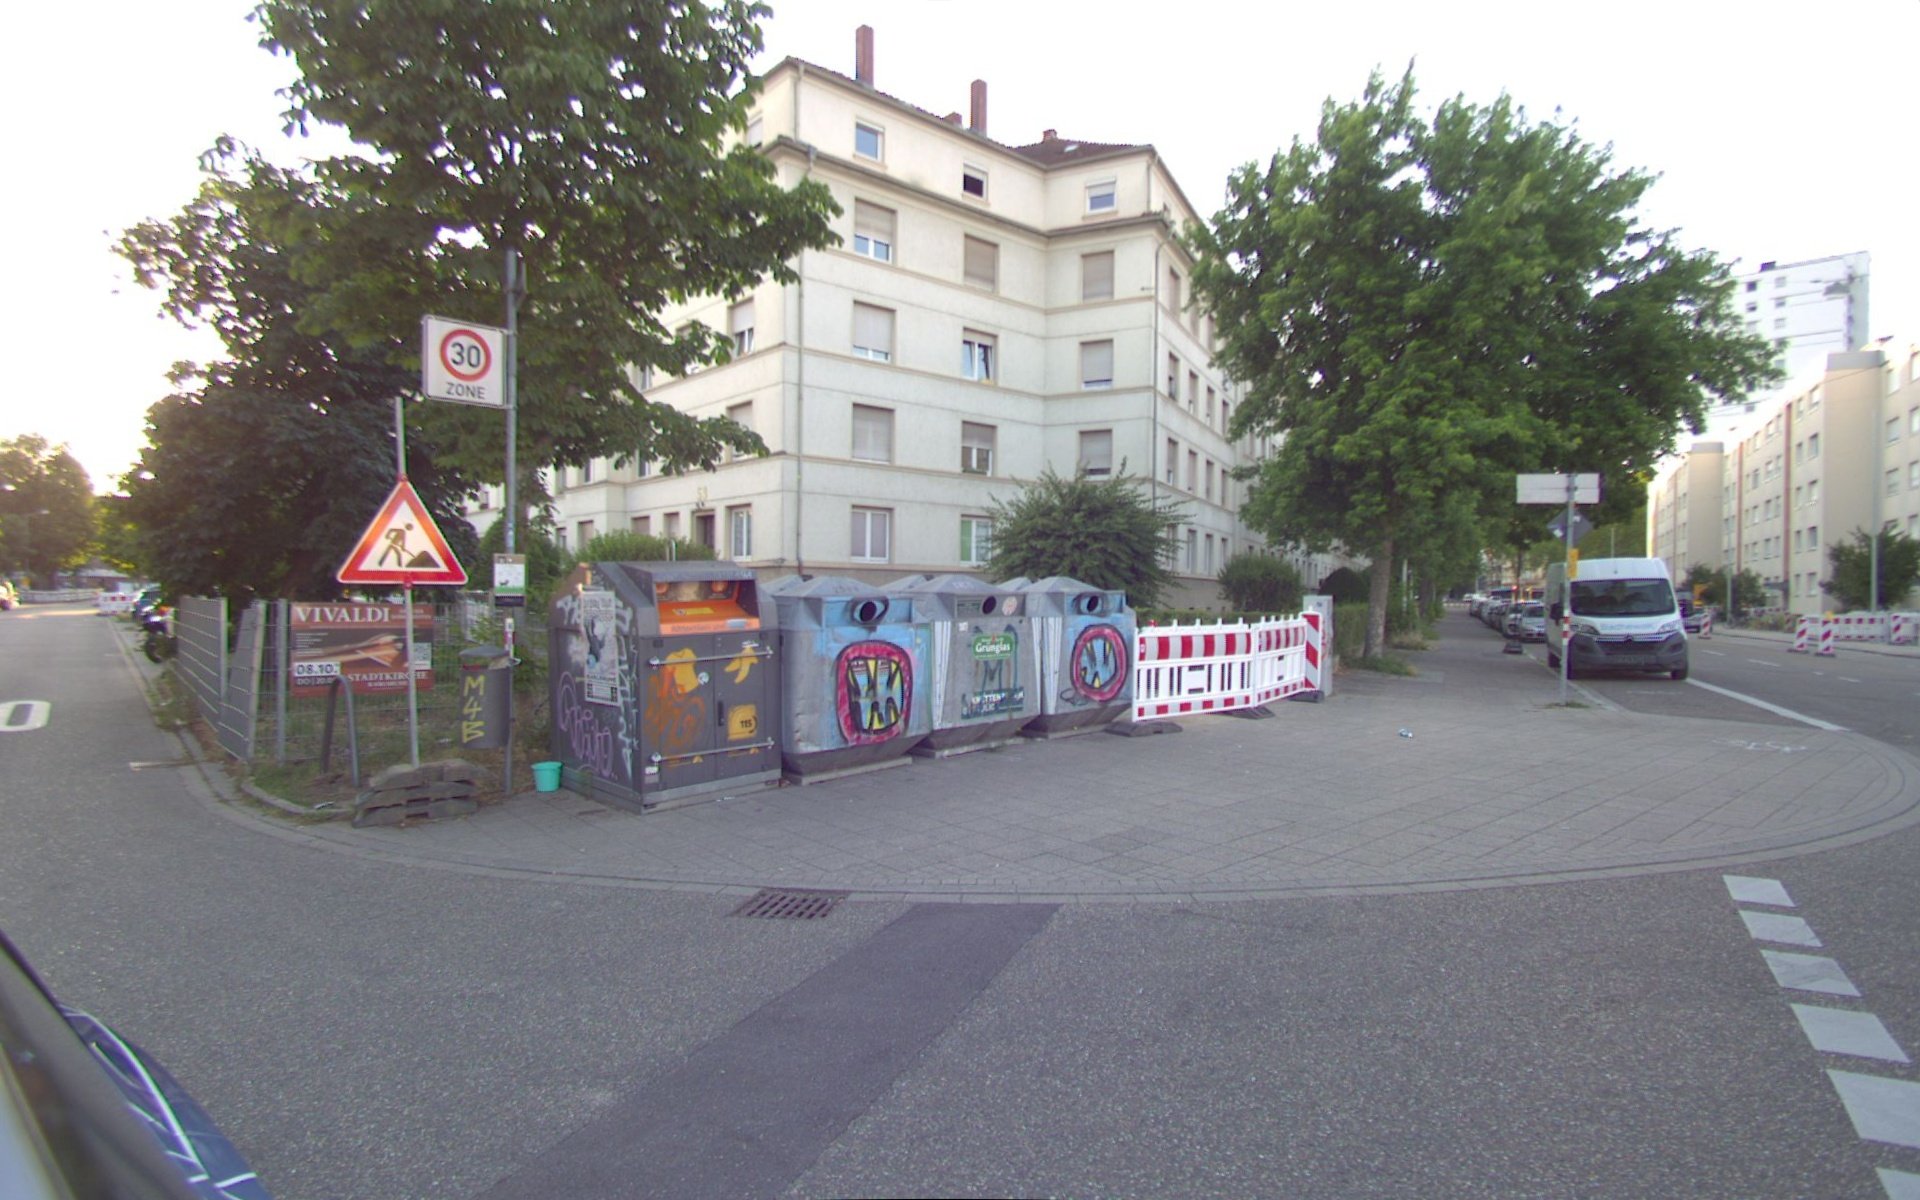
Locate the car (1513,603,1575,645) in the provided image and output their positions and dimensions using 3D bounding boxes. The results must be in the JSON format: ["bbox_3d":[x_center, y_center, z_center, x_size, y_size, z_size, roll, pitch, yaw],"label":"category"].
[{"bbox_3d":[22.338,0.883,38.809,1.753,1.494,3.892,-3,-1,27],"label":"car"}]

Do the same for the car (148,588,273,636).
[{"bbox_3d":[-27.418,0.400,37.071,1.729,1.578,3.436,2,2,44],"label":"car"}]

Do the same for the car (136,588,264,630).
[{"bbox_3d":[-29.943,0.325,39.925,3.927,1.500,1.731,-1,2,-39],"label":"car"}]

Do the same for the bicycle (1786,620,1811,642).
[{"bbox_3d":[45.894,1.684,55.398,0.616,1.115,2.213,0,0,28],"label":"bicycle"}]

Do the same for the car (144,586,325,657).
[{"bbox_3d":[-18.670,0.494,26.125,3.580,1.568,1.695,-4,3,-42],"label":"car"}]

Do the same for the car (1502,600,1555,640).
[{"bbox_3d":[24.686,0.846,44.062,1.753,1.616,3.892,-3,-1,27],"label":"car"}]

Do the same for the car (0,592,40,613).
[{"bbox_3d":[-65.912,0.131,68.925,4.758,1.408,1.773,2,-1,-41],"label":"car"}]

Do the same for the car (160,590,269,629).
[{"bbox_3d":[-31.467,0.358,42.745,3.630,1.495,1.731,-1,2,-39],"label":"car"}]

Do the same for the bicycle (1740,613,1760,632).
[{"bbox_3d":[49.313,1.400,63.194,0.616,1.115,2.213,0,0,28],"label":"bicycle"}]

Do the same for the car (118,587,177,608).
[{"bbox_3d":[-84.038,-0.254,104.725,4.712,2.085,2.005,0,0,-37],"label":"car"}]

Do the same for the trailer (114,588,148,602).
[{"bbox_3d":[-124.741,-0.731,152.272,3.625,2.084,2.006,-1,1,-28],"label":"trailer"}]

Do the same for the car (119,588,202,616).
[{"bbox_3d":[-46.502,0.094,58.896,3.656,1.495,1.730,-2,2,-43],"label":"car"}]

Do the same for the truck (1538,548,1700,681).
[{"bbox_3d":[13.925,0.283,21.773,2.097,2.441,5.993,-1,0,26],"label":"truck"}]

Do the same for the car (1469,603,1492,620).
[{"bbox_3d":[48.256,1.041,93.882,1.753,1.454,3.423,-3,-1,27],"label":"car"}]

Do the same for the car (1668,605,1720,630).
[{"bbox_3d":[42.441,0.996,58.618,1.776,1.400,3.964,0,0,26],"label":"car"}]

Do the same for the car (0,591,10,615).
[{"bbox_3d":[-60.873,0.183,63.479,1.719,1.480,3.765,0,0,-40],"label":"car"}]

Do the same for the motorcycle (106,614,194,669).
[{"bbox_3d":[-17.640,0.874,22.105,0.530,1.028,2.217,-2,2,-12],"label":"motorcycle"}]

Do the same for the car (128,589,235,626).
[{"bbox_3d":[-33.997,0.308,44.225,3.630,1.456,1.731,-1,2,-39],"label":"car"}]
